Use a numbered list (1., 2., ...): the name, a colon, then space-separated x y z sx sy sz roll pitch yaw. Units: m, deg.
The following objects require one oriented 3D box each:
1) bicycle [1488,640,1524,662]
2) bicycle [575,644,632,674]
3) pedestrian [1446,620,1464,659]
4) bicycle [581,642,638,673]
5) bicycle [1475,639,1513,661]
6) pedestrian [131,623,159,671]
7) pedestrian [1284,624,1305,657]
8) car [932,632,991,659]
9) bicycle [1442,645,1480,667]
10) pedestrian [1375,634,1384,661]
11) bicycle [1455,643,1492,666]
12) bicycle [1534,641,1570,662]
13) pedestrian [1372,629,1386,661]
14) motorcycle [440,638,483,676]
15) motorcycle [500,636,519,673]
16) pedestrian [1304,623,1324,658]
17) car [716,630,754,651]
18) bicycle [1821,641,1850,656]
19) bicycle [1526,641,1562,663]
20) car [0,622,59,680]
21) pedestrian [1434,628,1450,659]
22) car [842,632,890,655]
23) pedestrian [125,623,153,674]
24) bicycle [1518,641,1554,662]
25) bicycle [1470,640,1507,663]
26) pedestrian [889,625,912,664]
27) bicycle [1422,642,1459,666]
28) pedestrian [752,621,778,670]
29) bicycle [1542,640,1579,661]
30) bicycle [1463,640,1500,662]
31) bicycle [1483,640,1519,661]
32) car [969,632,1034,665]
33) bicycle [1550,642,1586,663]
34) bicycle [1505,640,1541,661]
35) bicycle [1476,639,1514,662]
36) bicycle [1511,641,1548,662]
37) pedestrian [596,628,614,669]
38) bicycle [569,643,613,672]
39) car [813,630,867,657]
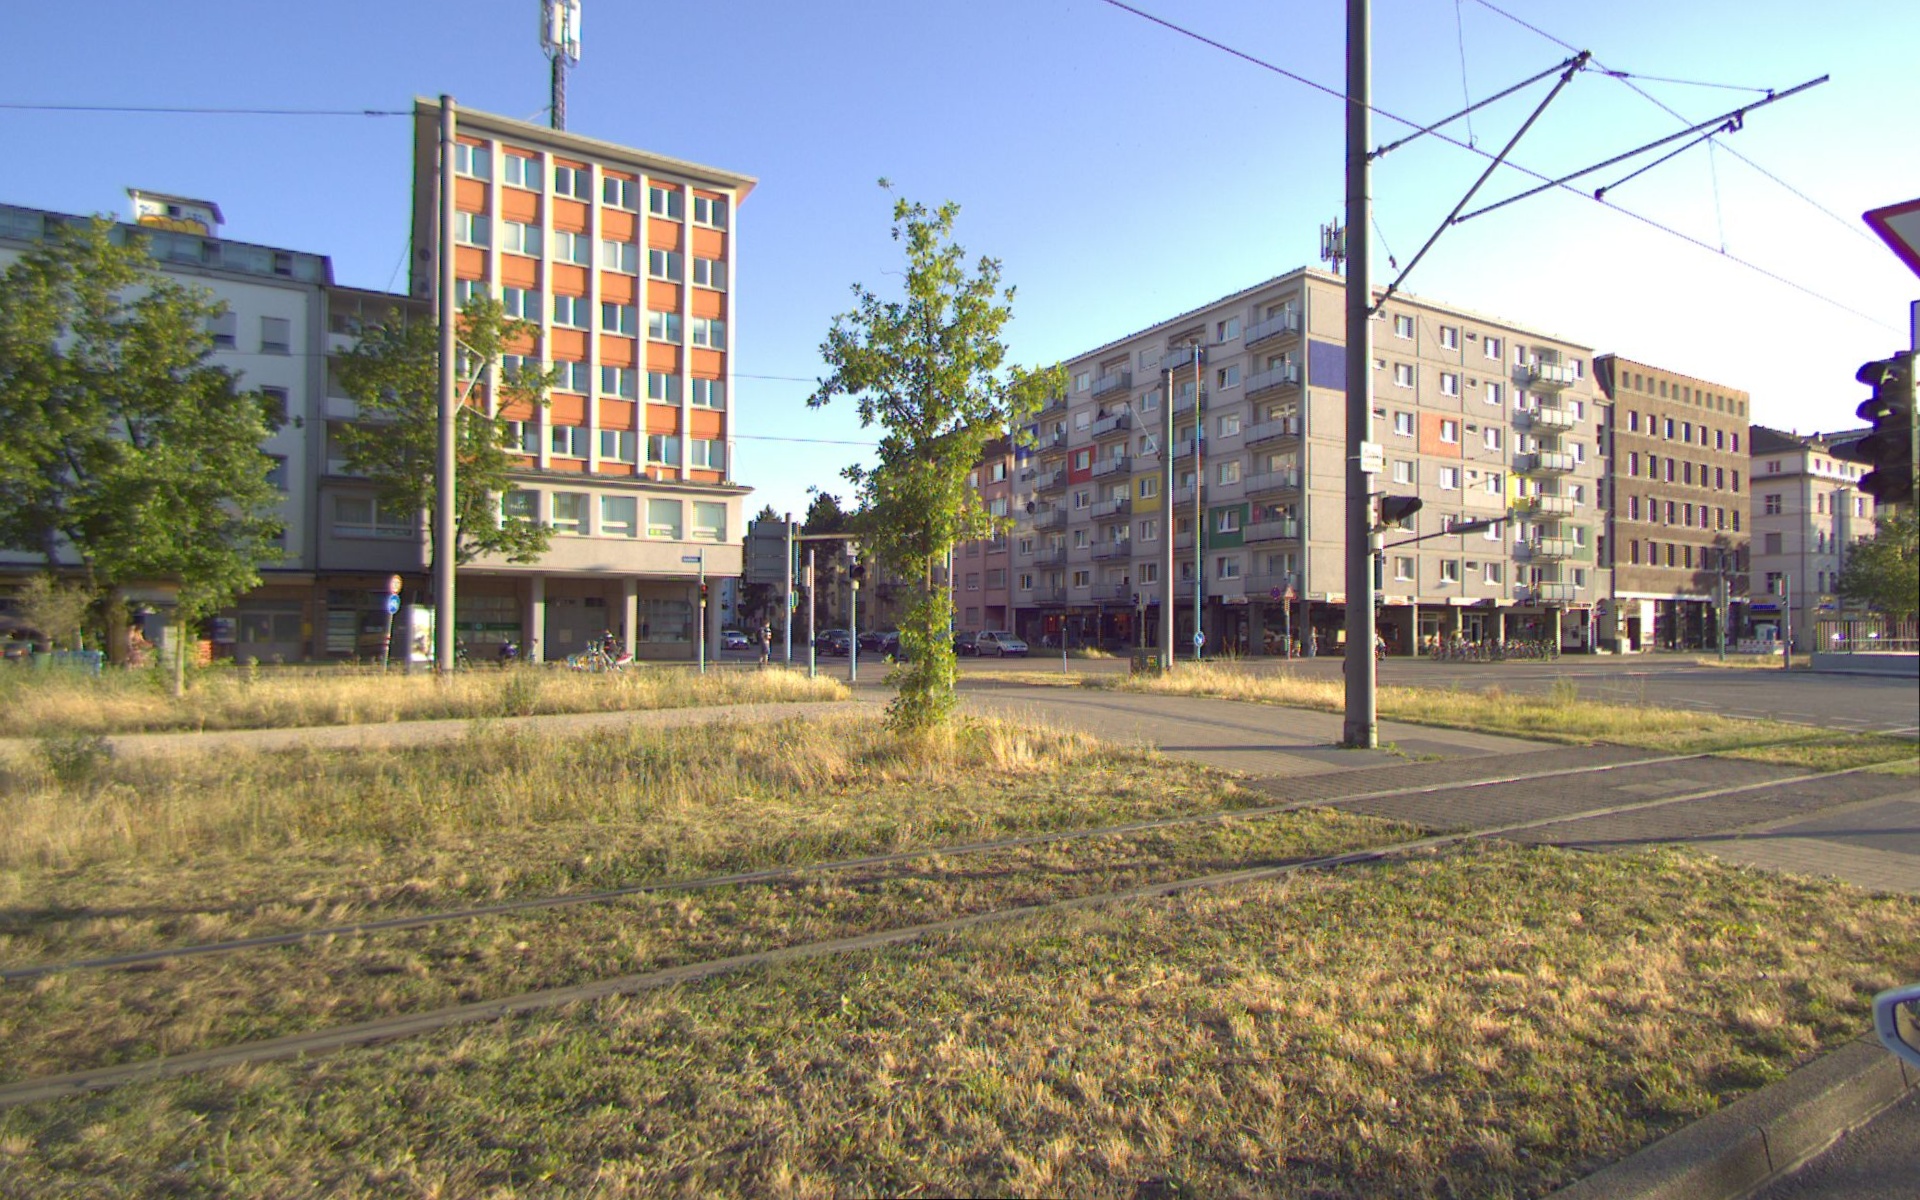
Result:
1. bicycle: 30.725 2.852 56.513 0.598 1.151 1.763 1 -2 -29
2. bicycle: -13.295 2.199 37.500 1.972 1.089 0.465 1 -1 -31
3. pedestrian: 28.673 2.275 58.237 0.783 2.207 0.599 1 -1 -30
4. bicycle: -12.584 2.045 36.057 1.885 1.089 0.465 1 -1 -31
5. bicycle: 29.646 2.775 55.798 0.632 1.176 1.823 1 -2 -29
6. pedestrian: -30.470 1.764 37.553 0.690 1.774 0.646 1 -1 -30
7. pedestrian: 18.704 2.256 56.227 0.715 1.837 0.819 2 0 -40
8. car: 0.066 2.673 59.779 1.974 1.505 3.974 1 -2 -26
9. bicycle: 26.951 2.998 54.058 0.601 1.157 1.768 1 -2 -29
10. pedestrian: 21.707 2.466 52.000 0.376 1.401 0.394 0 -1 32
11. bicycle: 27.636 2.933 54.100 0.592 1.154 1.749 1 -2 -29
12. bicycle: 33.858 2.935 57.474 0.739 1.194 1.684 1 -1 -28
13. pedestrian: 21.454 2.312 51.431 0.563 1.641 0.602 0 -1 29
14. motorcycle: -17.790 2.022 35.853 1.373 1.335 0.378 1 -1 -28
15. motorcycle: -17.027 2.032 37.916 0.538 1.335 1.823 1 -1 -27
16. pedestrian: 19.214 2.210 54.552 0.728 1.866 0.780 1 -2 -38
17. car: -18.110 3.251 80.726 1.975 1.551 3.971 1 -2 -28
18. bicycle: 58.606 3.251 67.234 1.636 0.957 0.509 0 -1 -5
19. bicycle: 33.201 2.940 57.123 0.696 1.168 1.684 1 -1 -28
20. car: -30.098 1.496 30.231 3.927 1.706 1.997 1 -1 -9
21. pedestrian: 26.714 2.419 55.651 0.540 1.706 0.577 1 -1 -27
22. car: -6.536 3.008 69.445 1.974 1.505 3.974 3 -3 -26
23. pedestrian: -30.148 1.774 36.888 0.696 1.816 0.590 1 -1 -30
24. bicycle: 32.588 2.890 56.818 0.626 1.139 1.720 2 -2 -28
25. bicycle: 28.706 2.783 54.565 0.561 1.197 1.761 1 -2 -29
26. pedestrian: -2.865 2.108 47.992 0.879 1.855 0.885 1 -1 -20
27. bicycle: 25.802 2.902 53.951 0.631 1.224 1.786 1 -2 -30
28. pedestrian: -7.883 1.825 40.605 0.708 1.972 0.720 -1 -2 43
29. bicycle: 34.542 2.909 57.821 0.739 1.185 1.684 1 -1 -28
30. bicycle: 28.186 2.750 54.286 0.534 1.183 1.758 1 -1 -29
31. bicycle: 30.208 2.811 56.104 0.598 1.174 1.768 1 -2 -29
32. car: 2.255 2.649 55.631 1.974 1.506 3.973 2 1 -26
33. bicycle: 35.177 3.009 58.165 0.688 1.159 1.684 1 -1 -28
34. bicycle: 31.528 2.843 56.245 0.545 1.132 1.747 1 -2 -29
35. bicycle: 29.254 2.764 54.902 0.644 1.206 1.780 1 -2 -30
36. bicycle: 32.036 2.865 56.524 0.561 1.134 1.753 1 -2 -29
37. pedestrian: -15.457 2.101 43.757 0.623 1.792 0.593 1 -1 -30
38. bicycle: -14.134 2.208 38.525 1.543 1.089 0.392 1 -1 -31
39. car: -7.380 2.646 61.427 1.975 1.551 3.971 1 -1 -28
